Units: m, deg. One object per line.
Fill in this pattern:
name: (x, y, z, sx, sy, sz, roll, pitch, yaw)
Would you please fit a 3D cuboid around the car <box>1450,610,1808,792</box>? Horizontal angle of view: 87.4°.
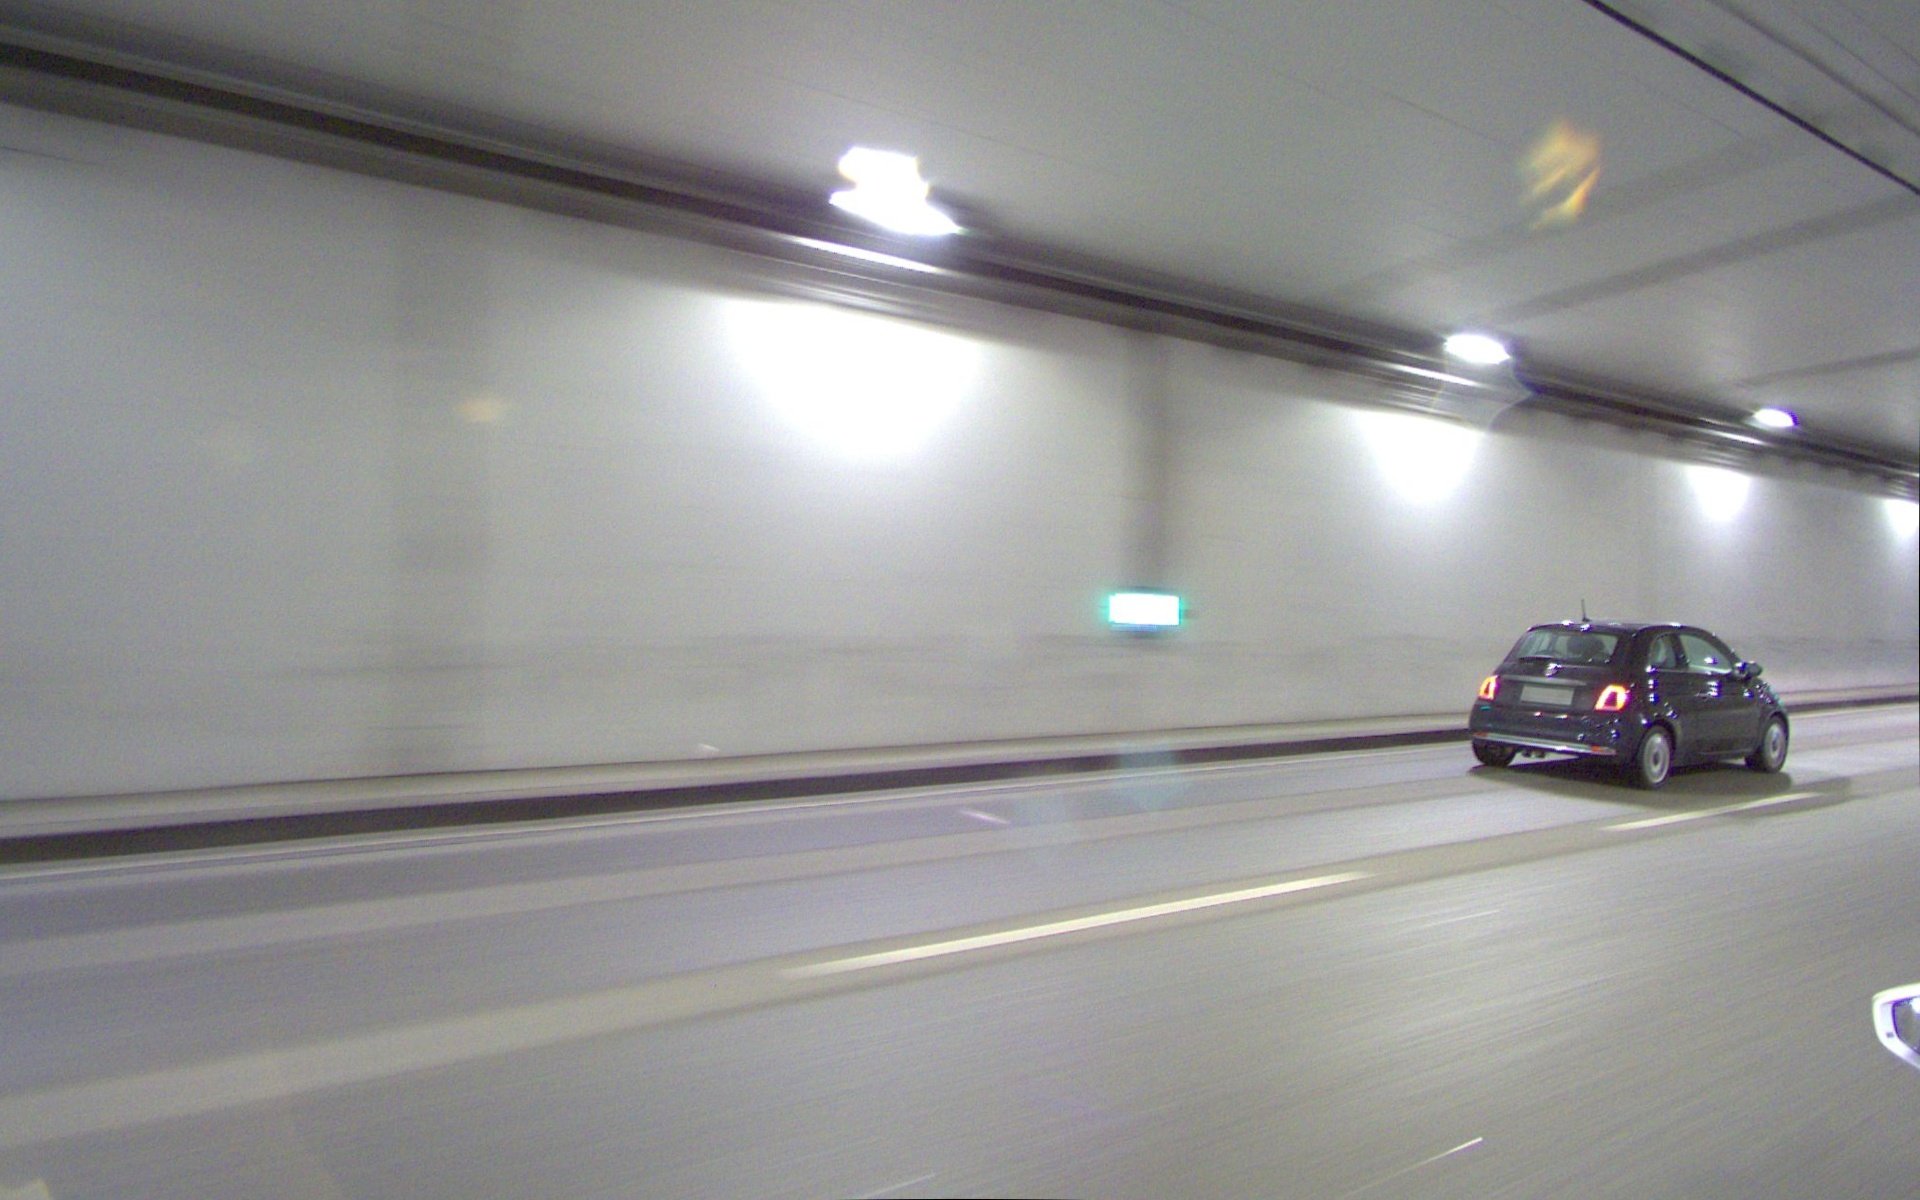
car: (6.699, 0.886, 10.002, 3.532, 1.474, 1.603, 1, 1, -31)
